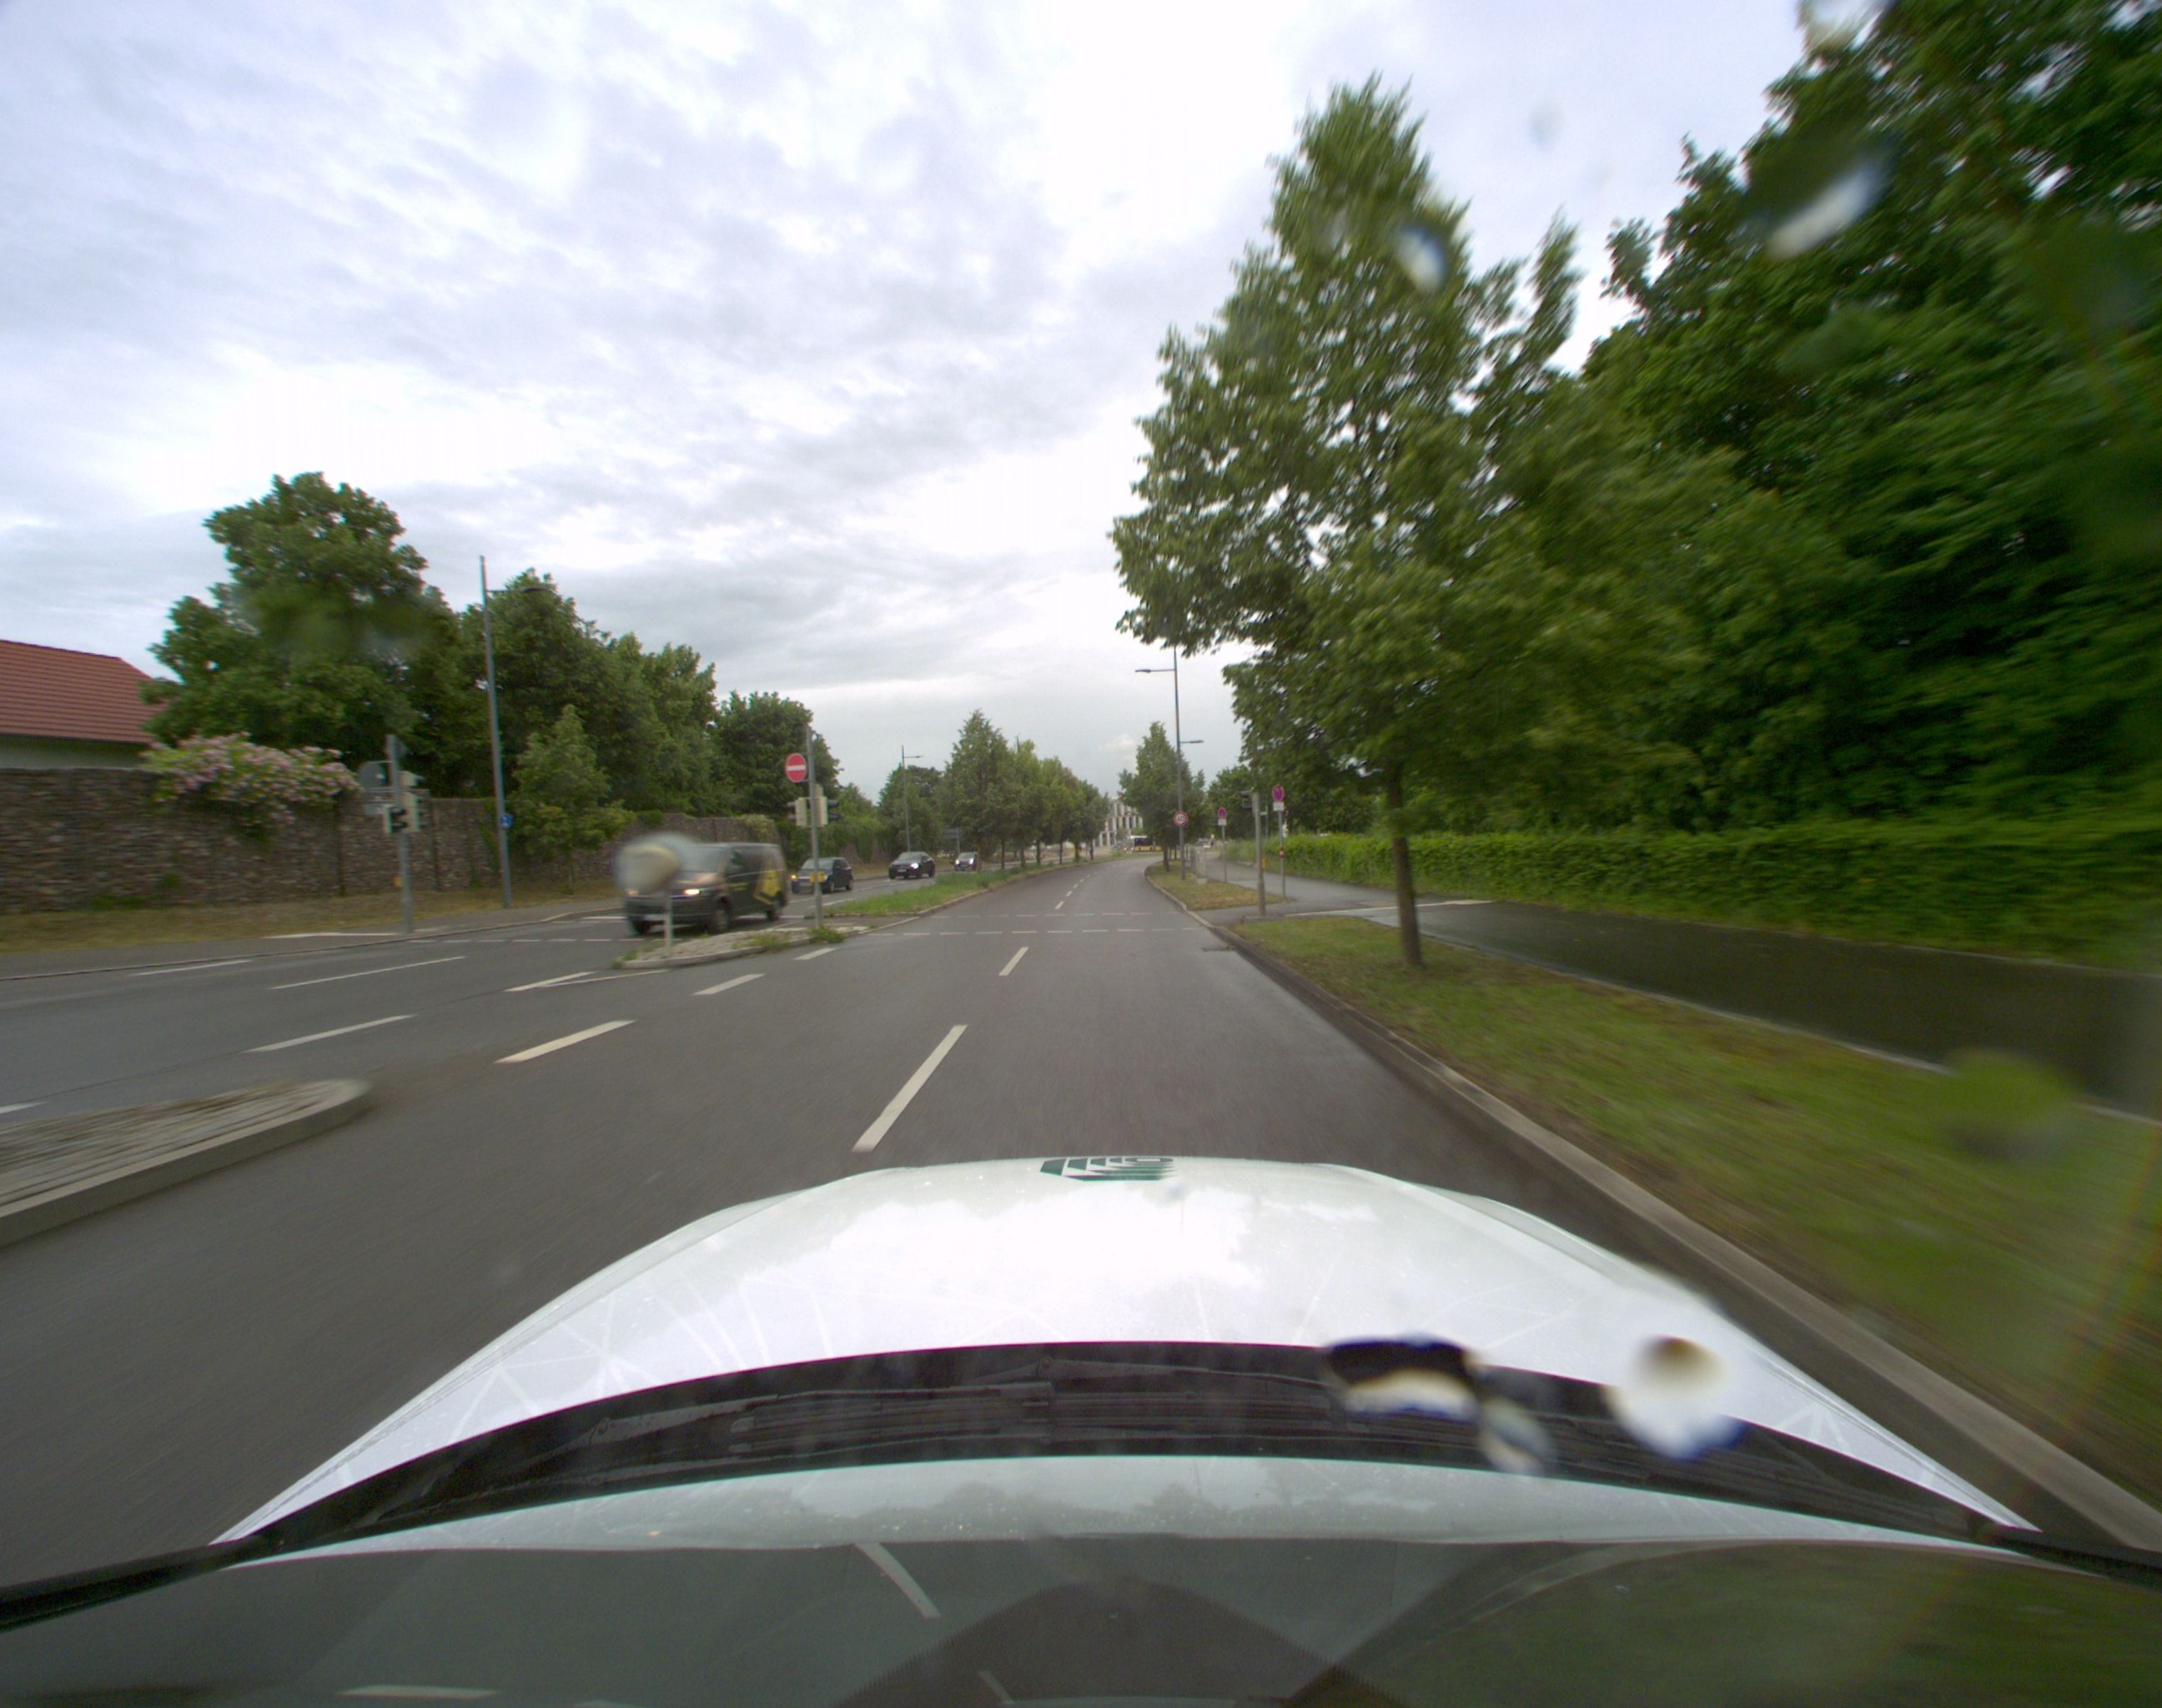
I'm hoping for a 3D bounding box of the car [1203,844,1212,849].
[{"bbox_3d":[34.018,-2.025,219.017,1.464,1.494,2.545,-2,-1,27],"label":"car"}]

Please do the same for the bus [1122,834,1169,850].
[{"bbox_3d":[14.526,-2.518,180.869,2.758,3.357,18.339,-2,-1,29],"label":"bus"}]

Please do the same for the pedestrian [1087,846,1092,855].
[{"bbox_3d":[1.495,-0.550,138.599,0.832,1.573,0.719,-1,-1,-3],"label":"pedestrian"}]

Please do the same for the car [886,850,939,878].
[{"bbox_3d":[-10.237,0.588,49.787,1.872,1.595,4.774,0,0,5],"label":"car"}]

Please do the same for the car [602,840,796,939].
[{"bbox_3d":[-8.540,0.701,18.858,2.007,1.919,5.095,-1,0,0],"label":"car"}]

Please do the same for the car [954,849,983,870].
[{"bbox_3d":[-9.057,0.438,65.576,1.678,1.539,2.920,-1,1,5],"label":"car"}]

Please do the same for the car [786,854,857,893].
[{"bbox_3d":[-10.910,0.780,34.508,1.592,1.489,4.001,-1,0,1],"label":"car"}]

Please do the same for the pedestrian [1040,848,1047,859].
[{"bbox_3d":[-5.583,-0.141,121.435,0.807,1.621,0.939,-2,-1,15],"label":"pedestrian"}]
